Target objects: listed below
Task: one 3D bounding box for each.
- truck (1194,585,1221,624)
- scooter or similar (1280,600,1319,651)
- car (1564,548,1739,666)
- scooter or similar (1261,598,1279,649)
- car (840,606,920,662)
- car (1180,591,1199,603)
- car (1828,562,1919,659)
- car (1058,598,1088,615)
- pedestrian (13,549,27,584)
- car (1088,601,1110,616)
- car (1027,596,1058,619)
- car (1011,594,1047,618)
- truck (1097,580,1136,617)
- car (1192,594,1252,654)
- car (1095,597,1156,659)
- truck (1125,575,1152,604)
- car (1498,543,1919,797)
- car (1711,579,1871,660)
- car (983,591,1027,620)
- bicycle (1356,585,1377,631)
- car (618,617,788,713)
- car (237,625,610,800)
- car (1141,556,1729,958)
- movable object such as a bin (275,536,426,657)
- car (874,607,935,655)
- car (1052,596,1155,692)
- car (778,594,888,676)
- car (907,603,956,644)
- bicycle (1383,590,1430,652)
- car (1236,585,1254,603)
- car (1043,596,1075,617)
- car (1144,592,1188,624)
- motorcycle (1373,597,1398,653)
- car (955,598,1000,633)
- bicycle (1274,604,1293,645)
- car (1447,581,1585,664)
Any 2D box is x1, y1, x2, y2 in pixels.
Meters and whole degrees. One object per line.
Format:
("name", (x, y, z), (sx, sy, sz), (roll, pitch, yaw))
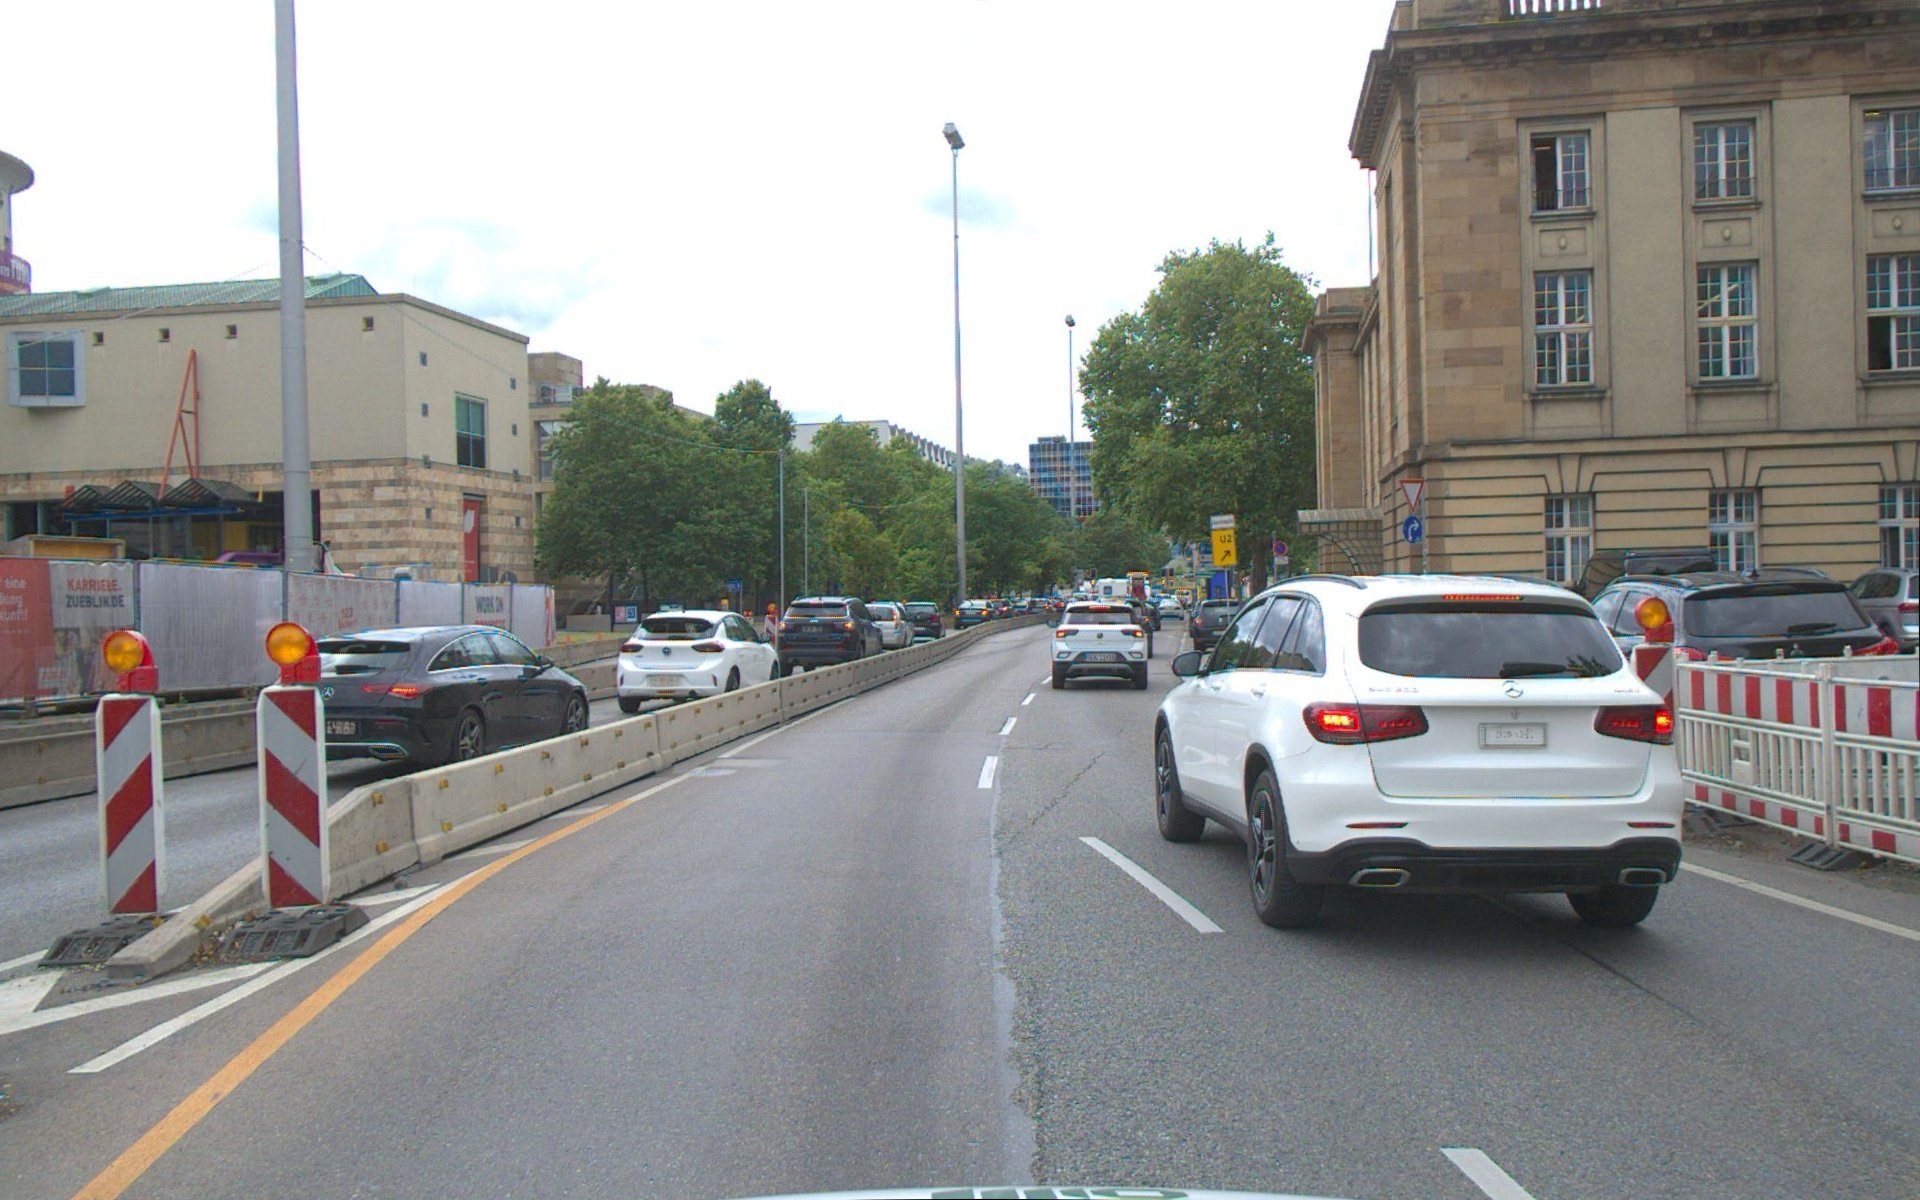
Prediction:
("truck", (27.101, 0.472, 181.278), (2.816, 4.175, 6.643), (0, 0, 9))
("scooter or similar", (8.702, 0.670, 42.394), (0.443, 1.275, 1.365), (-1, -2, -11))
("car", (13.224, 0.099, 31.945), (1.906, 2.105, 4.920), (0, 1, 8))
("scooter or similar", (7.971, 0.601, 42.548), (0.371, 1.284, 1.404), (-1, 0, 9))
("car", (-2.245, 0.934, 47.515), (1.839, 1.507, 4.706), (0, 0, 3))
("car", (25.048, -0.309, 180.525), (1.905, 1.343, 4.020), (0, 0, 11))
("car", (17.652, 0.151, 30.672), (1.608, 1.698, 3.620), (0, 1, 8))
("car", (8.722, 0.498, 127.409), (1.624, 1.343, 3.550), (0, 0, 15))
("pedestrian", (-55.234, -1.969, 97.199), (0.402, 2.049, 0.601), (1, -1, 9))
("car", (12.623, 0.735, 150.446), (1.623, 1.343, 3.550), (0, 0, 11))
("car", (5.503, 0.502, 110.484), (1.626, 1.461, 3.963), (0, 0, 9))
("car", (4.238, 0.378, 101.224), (1.642, 1.391, 4.547), (-1, 0, 9))
("truck", (12.741, -0.120, 134.367), (2.565, 2.911, 7.084), (0, 0, 10))
("car", (7.610, 0.679, 48.265), (1.513, 1.579, 3.711), (-4, 0, 7))
("car", (4.728, 0.758, 46.939), (1.624, 1.668, 3.550), (0, 0, 7))
("truck", (19.335, -1.135, 179.296), (2.634, 3.044, 5.642), (1, 0, 9))
("car", (5.953, 0.461, 13.785), (1.766, 1.768, 4.488), (0, 1, 4))
("car", (15.626, 0.329, 31.278), (1.608, 1.437, 3.620), (0, 1, 8))
("car", (2.493, 0.304, 90.805), (1.777, 1.525, 4.773), (-1, 0, 9))
("bicycle", (11.902, 0.233, 48.459), (0.403, 1.311, 1.792), (-1, 0, 9))
("car", (-3.817, 0.937, 25.179), (1.690, 1.319, 3.937), (0, 0, 4))
("car", (-5.149, 1.005, 16.623), (1.815, 1.440, 4.569), (0, 0, 7))
("car", (2.224, 0.658, 9.077), (1.752, 1.653, 4.434), (0, 0, -3))
("movable object such as a bin", (-11.930, -0.072, 32.574), (1.489, 2.223, 3.295), (-1, 0, 5))
("car", (-1.822, 0.998, 55.260), (1.637, 1.533, 3.856), (0, 0, 4))
("car", (2.681, 0.776, 30.853), (1.758, 1.636, 3.757), (-2, 0, 5))
("car", (-2.667, 0.727, 35.547), (1.738, 1.649, 4.048), (0, 0, 4))
("car", (-1.013, 0.857, 61.549), (1.625, 1.479, 4.199), (0, 0, 2))
("bicycle", (9.605, 0.441, 35.629), (0.596, 1.246, 1.964), (-4, 0, 6))
("car", (33.282, -0.713, 192.872), (1.951, 2.049, 4.003), (0, 0, 11))
("car", (7.144, 0.464, 119.004), (1.738, 1.445, 4.004), (-1, 0, 10))
("car", (9.981, 0.374, 80.295), (1.883, 1.468, 3.968), (-2, 0, 4))
("motorcycle", (10.032, 0.569, 39.016), (0.445, 1.264, 1.924), (-2, 0, 12))
("car", (0.899, 0.760, 82.419), (1.883, 1.664, 4.939), (0, 0, 4))
("bicycle", (9.550, 0.708, 48.860), (0.450, 1.177, 1.832), (-1, 0, 8))
("car", (10.782, 0.386, 32.371), (1.740, 1.495, 4.579), (0, 1, 8))
